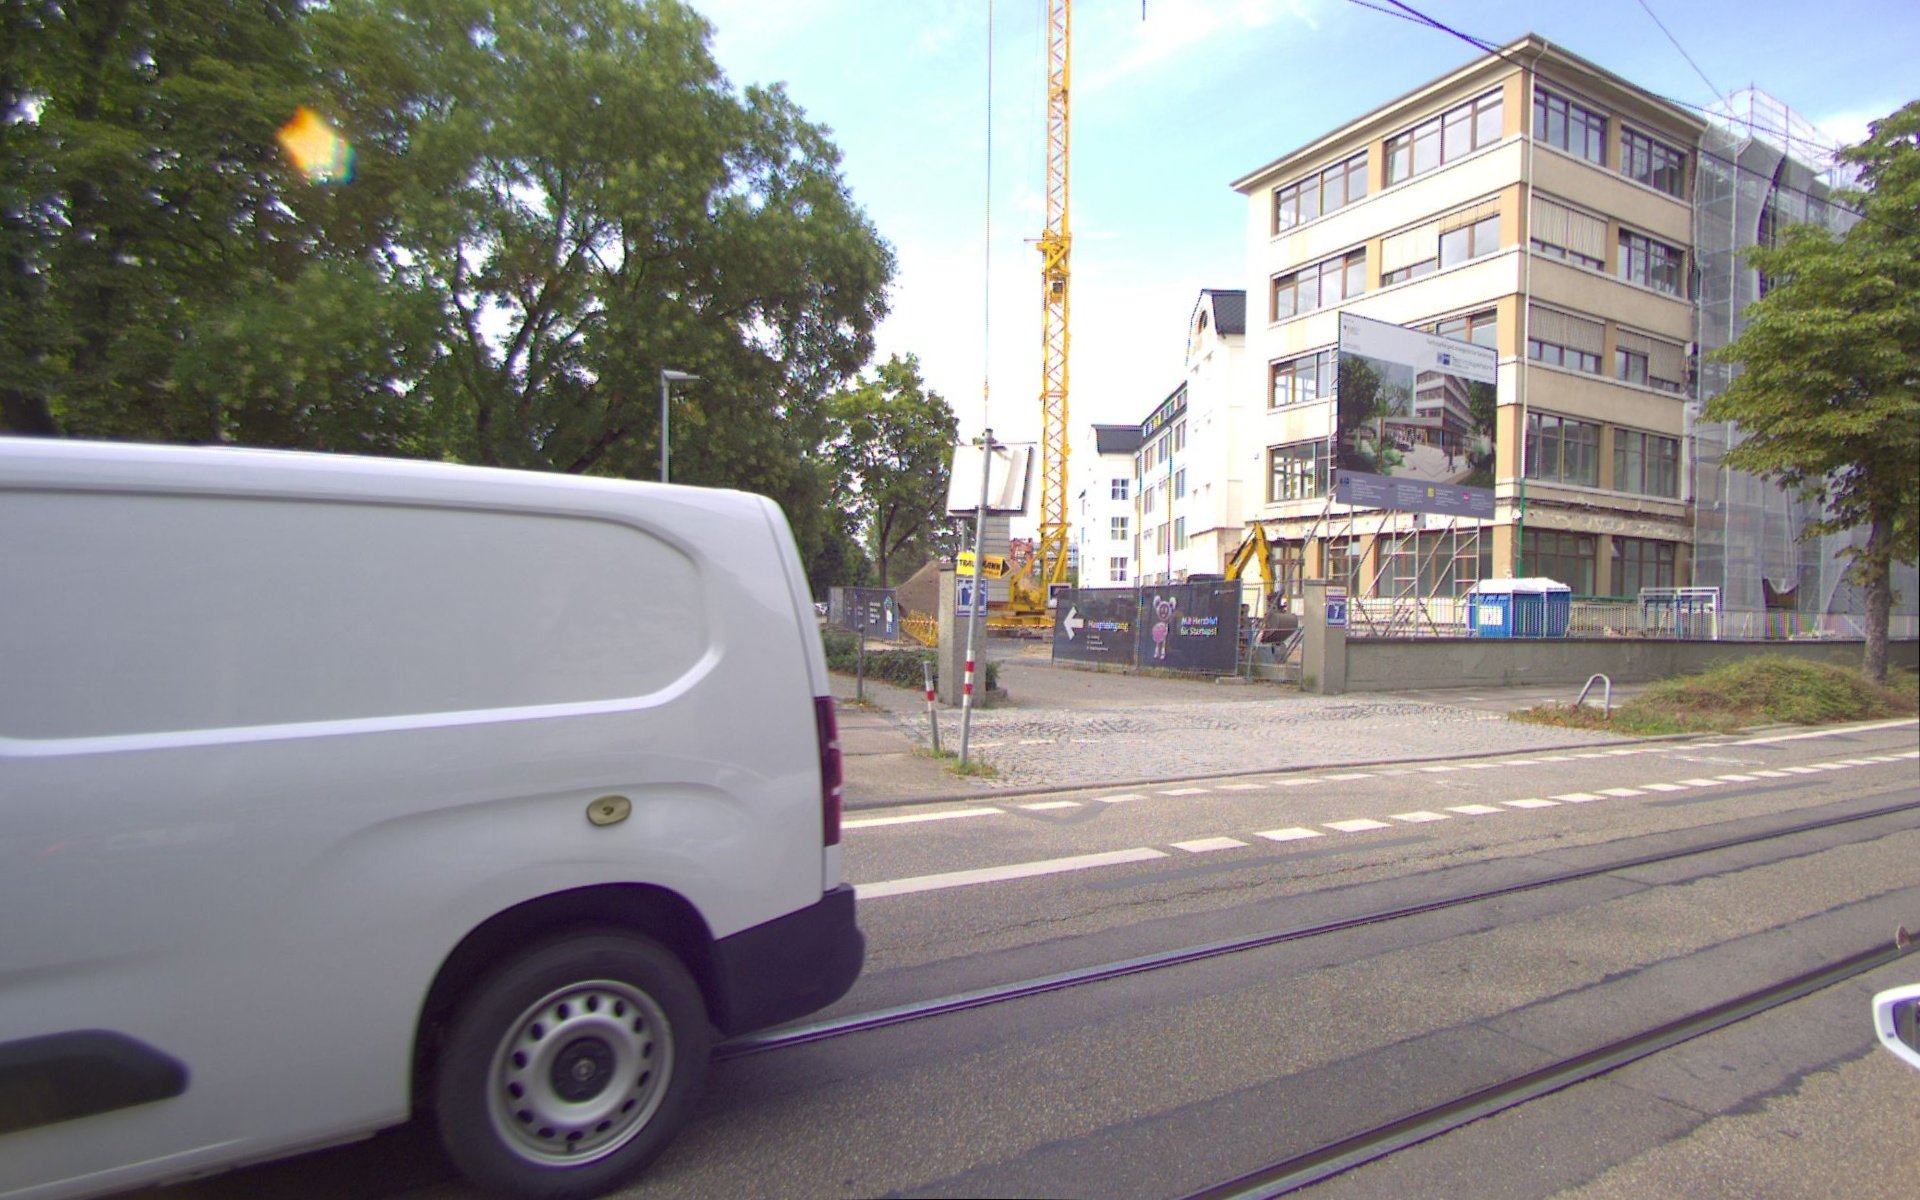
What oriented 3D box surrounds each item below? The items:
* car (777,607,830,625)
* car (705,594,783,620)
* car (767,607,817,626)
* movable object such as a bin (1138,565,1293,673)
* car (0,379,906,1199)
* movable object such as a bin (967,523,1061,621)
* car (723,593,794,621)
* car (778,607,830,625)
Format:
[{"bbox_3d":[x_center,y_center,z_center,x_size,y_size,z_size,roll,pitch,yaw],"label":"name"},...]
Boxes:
[{"bbox_3d":[-14.309,1.455,91.983,4.719,1.508,1.997,2,0,-8],"label":"car"},{"bbox_3d":[-13.830,0.433,64.606,4.719,1.508,1.997,2,0,-8],"label":"car"},{"bbox_3d":[-14.782,1.449,88.662,4.268,1.564,1.751,2,0,-8],"label":"car"},{"bbox_3d":[6.278,0.473,24.995,2.459,2.475,3.048,2,0,-19],"label":"movable object such as a bin"},{"bbox_3d":[-2.596,0.498,2.425,4.623,1.848,1.786,1,0,-30],"label":"car"},{"bbox_3d":[4.256,-1.885,75.042,3.781,6.758,10.988,2,0,20],"label":"movable object such as a bin"},{"bbox_3d":[-15.180,0.550,75.898,4.965,1.979,1.999,2,0,-4],"label":"car"},{"bbox_3d":[-14.692,1.494,94.809,4.719,1.508,1.997,2,0,-8],"label":"car"}]
